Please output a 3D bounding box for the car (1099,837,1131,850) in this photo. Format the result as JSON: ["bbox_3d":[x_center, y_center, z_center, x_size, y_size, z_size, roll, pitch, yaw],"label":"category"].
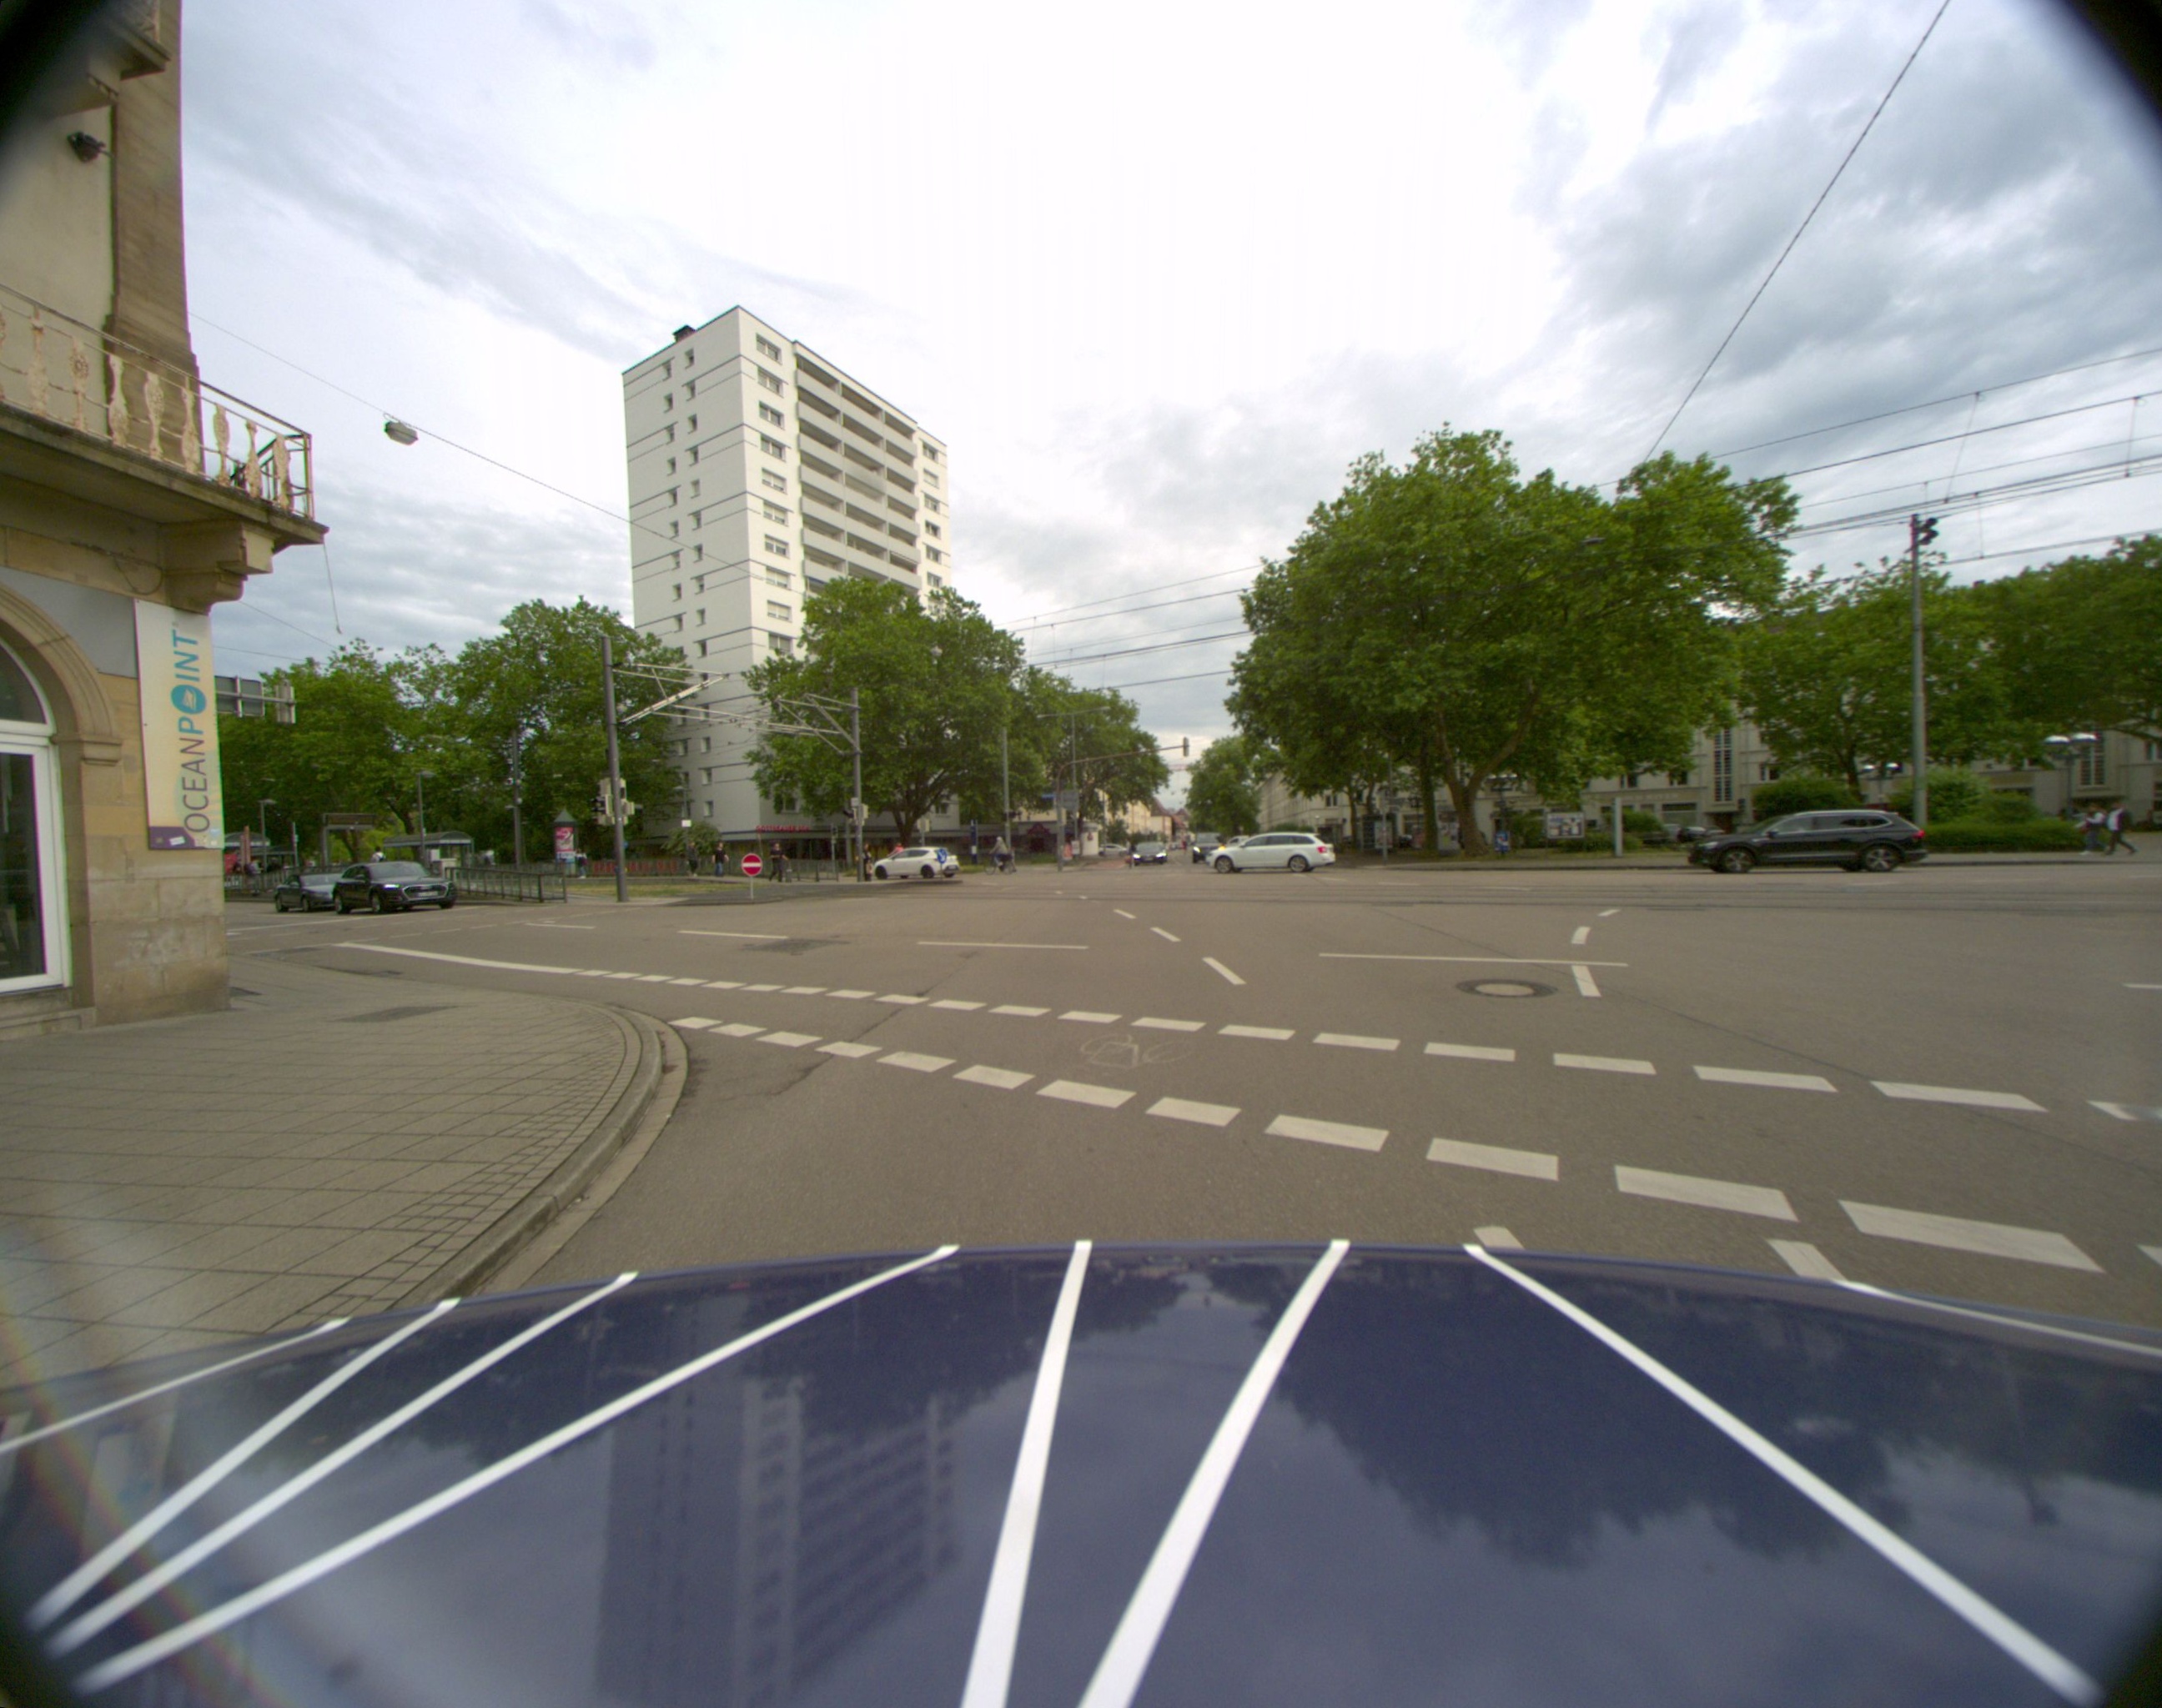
[{"bbox_3d":[4.578,-1.407,101.545,3.993,1.369,1.819,-2,3,14],"label":"car"}]

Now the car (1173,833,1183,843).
[{"bbox_3d":[22.011,-3.703,172.367,1.997,2.003,4.001,-2,3,10],"label":"car"}]

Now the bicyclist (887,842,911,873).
[{"bbox_3d":[-9.802,0.172,40.980,0.991,1.628,0.709,-1,0,29],"label":"bicyclist"}]

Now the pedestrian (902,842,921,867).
[{"bbox_3d":[-10.327,0.024,46.221,0.851,1.501,0.555,-2,3,26],"label":"pedestrian"}]

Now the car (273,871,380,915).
[{"bbox_3d":[-27.303,1.395,27.482,4.003,1.367,1.640,-1,3,30],"label":"car"}]

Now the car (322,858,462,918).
[{"bbox_3d":[-22.004,1.069,24.248,4.356,1.638,1.920,-1,3,30],"label":"car"}]

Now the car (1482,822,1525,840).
[{"bbox_3d":[36.330,-2.000,65.502,1.996,1.382,4.836,-2,1,13],"label":"car"}]

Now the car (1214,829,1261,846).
[{"bbox_3d":[16.955,-1.806,82.334,4.825,1.654,2.001,-2,2,8],"label":"car"}]

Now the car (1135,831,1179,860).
[{"bbox_3d":[4.781,-0.500,47.390,1.660,1.708,3.745,-2,-1,24],"label":"car"}]

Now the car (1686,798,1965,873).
[{"bbox_3d":[19.785,-0.477,20.579,5.136,1.773,1.710,-1,3,30],"label":"car"}]

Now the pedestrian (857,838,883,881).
[{"bbox_3d":[-8.786,0.230,31.670,0.626,1.741,0.657,-1,4,32],"label":"pedestrian"}]

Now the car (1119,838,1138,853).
[{"bbox_3d":[5.704,-0.996,90.716,1.998,1.543,3.909,-3,3,6],"label":"car"}]

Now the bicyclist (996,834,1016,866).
[{"bbox_3d":[-3.662,-0.178,37.092,0.755,1.553,0.586,-1,0,30],"label":"bicyclist"}]

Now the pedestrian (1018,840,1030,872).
[{"bbox_3d":[-2.969,0.091,39.368,0.505,1.603,0.366,-3,3,-2],"label":"pedestrian"}]

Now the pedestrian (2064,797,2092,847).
[{"bbox_3d":[30.081,-0.954,22.923,0.373,1.470,0.362,-2,2,24],"label":"pedestrian"}]

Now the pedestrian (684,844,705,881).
[{"bbox_3d":[-18.929,0.405,37.216,0.533,1.780,0.623,-1,4,30],"label":"pedestrian"}]

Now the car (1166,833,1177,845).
[{"bbox_3d":[16.651,-2.716,140.029,1.997,2.003,4.000,-3,3,7],"label":"car"}]

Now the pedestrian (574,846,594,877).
[{"bbox_3d":[-27.684,0.410,42.306,0.563,1.659,0.623,-1,4,30],"label":"pedestrian"}]

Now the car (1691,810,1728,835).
[{"bbox_3d":[54.820,-2.763,66.348,1.994,2.002,4.007,-1,2,32],"label":"car"}]

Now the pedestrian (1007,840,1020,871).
[{"bbox_3d":[-3.516,0.078,39.623,0.524,1.603,0.526,-3,3,-2],"label":"pedestrian"}]

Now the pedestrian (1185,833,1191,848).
[{"bbox_3d":[12.639,-1.553,89.879,0.610,1.746,0.452,-2,3,12],"label":"pedestrian"}]

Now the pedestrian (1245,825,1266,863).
[{"bbox_3d":[8.815,-0.531,38.406,0.689,1.876,0.687,-4,3,-24],"label":"pedestrian"}]

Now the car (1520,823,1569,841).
[{"bbox_3d":[38.717,-1.829,63.629,2.080,1.382,4.836,-2,1,13],"label":"car"}]

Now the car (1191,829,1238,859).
[{"bbox_3d":[8.086,-0.587,45.868,1.908,1.708,3.745,-2,-1,24],"label":"car"}]

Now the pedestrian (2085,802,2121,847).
[{"bbox_3d":[30.347,-0.874,22.561,0.468,1.318,0.457,-2,2,24],"label":"pedestrian"}]

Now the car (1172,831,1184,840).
[{"bbox_3d":[23.842,-4.457,187.337,1.996,2.003,4.004,-2,3,21],"label":"car"}]

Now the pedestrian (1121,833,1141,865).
[{"bbox_3d":[2.637,-0.265,40.229,0.754,1.681,0.808,-2,2,25],"label":"pedestrian"}]

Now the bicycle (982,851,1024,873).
[{"bbox_3d":[-3.838,0.399,37.228,1.987,1.058,0.731,-1,0,30],"label":"bicycle"}]

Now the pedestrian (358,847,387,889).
[{"bbox_3d":[-30.140,0.578,32.317,0.533,1.741,0.664,-1,4,30],"label":"pedestrian"}]

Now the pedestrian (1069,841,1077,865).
[{"bbox_3d":[-0.460,-0.079,44.446,0.417,1.358,0.391,-3,3,3],"label":"pedestrian"}]

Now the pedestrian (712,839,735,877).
[{"bbox_3d":[-16.654,0.183,35.381,0.547,1.741,0.623,-1,4,30],"label":"pedestrian"}]

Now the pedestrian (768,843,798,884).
[{"bbox_3d":[-12.896,0.413,32.885,0.876,1.686,0.744,-1,4,30],"label":"pedestrian"}]

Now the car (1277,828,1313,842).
[{"bbox_3d":[23.707,-2.118,84.299,1.804,1.478,3.992,-3,2,-20],"label":"car"}]

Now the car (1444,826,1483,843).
[{"bbox_3d":[33.214,-1.704,66.123,1.996,1.382,4.836,-2,1,13],"label":"car"}]

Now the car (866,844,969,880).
[{"bbox_3d":[-7.475,0.379,34.752,4.401,1.440,1.850,-1,3,30],"label":"car"}]

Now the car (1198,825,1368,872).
[{"bbox_3d":[7.345,-0.159,27.836,5.688,1.517,1.850,-2,0,28],"label":"car"}]

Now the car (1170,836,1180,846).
[{"bbox_3d":[19.695,-2.783,159.147,1.997,1.790,4.001,-2,3,10],"label":"car"}]

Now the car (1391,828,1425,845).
[{"bbox_3d":[29.651,-1.615,69.086,1.996,1.382,4.836,-2,1,13],"label":"car"}]
